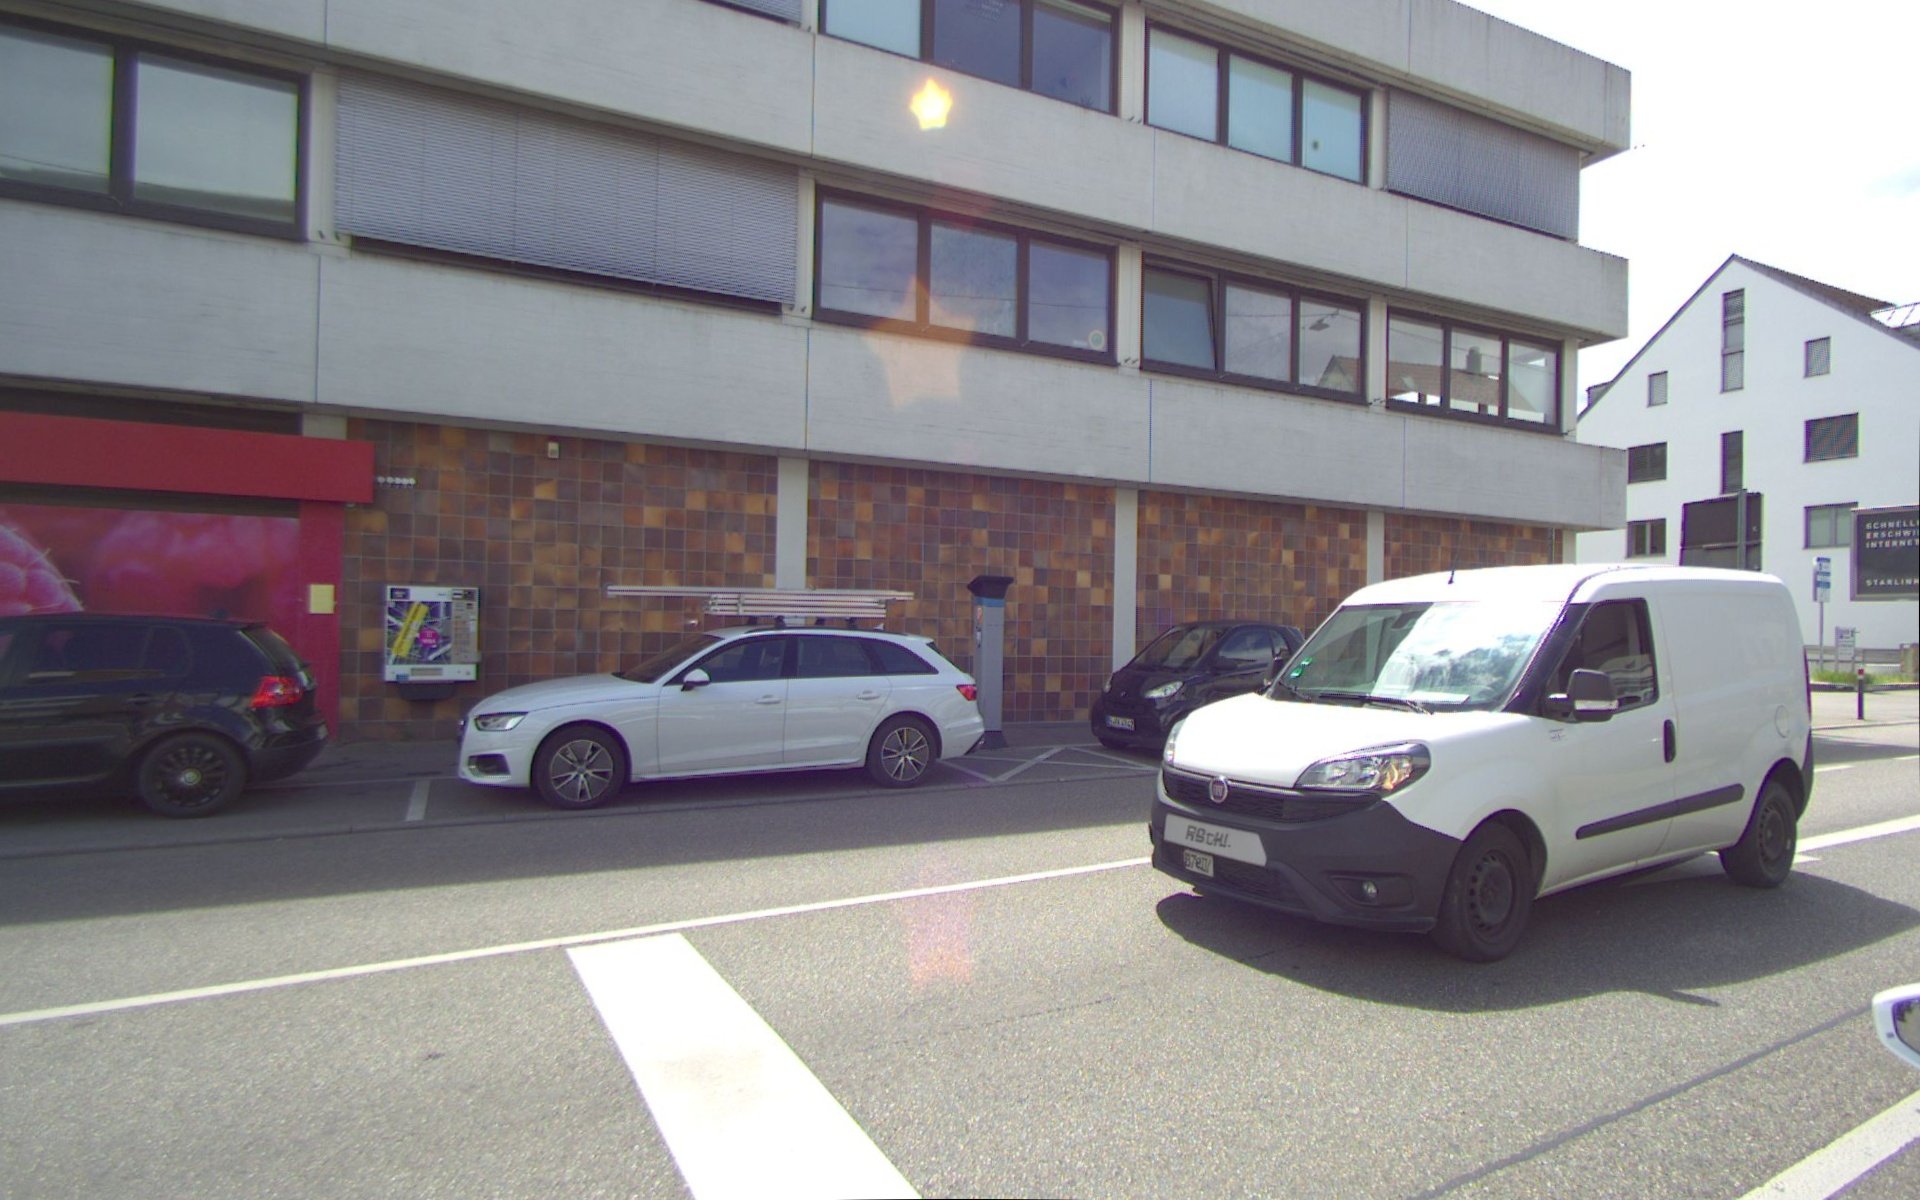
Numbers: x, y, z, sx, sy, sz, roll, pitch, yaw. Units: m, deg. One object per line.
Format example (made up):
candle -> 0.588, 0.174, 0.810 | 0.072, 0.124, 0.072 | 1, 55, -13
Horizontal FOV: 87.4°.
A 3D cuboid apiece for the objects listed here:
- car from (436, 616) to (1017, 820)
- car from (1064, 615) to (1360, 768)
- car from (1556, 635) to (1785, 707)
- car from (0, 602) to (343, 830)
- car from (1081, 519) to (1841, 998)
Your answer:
car -> -2.087, 0.925, 9.377 | 4.887, 1.463, 2.037 | 1, 0, -27
car -> 2.986, 0.999, 11.965 | 3.016, 1.576, 1.731 | 1, 0, -26
car -> 15.119, 1.458, 21.351 | 4.791, 1.376, 1.945 | 1, -2, -26
car -> -7.130, 0.771, 7.408 | 4.232, 1.495, 2.036 | 1, 0, -28
car -> 2.970, 0.674, 5.793 | 4.228, 1.845, 1.936 | 1, -2, -30
